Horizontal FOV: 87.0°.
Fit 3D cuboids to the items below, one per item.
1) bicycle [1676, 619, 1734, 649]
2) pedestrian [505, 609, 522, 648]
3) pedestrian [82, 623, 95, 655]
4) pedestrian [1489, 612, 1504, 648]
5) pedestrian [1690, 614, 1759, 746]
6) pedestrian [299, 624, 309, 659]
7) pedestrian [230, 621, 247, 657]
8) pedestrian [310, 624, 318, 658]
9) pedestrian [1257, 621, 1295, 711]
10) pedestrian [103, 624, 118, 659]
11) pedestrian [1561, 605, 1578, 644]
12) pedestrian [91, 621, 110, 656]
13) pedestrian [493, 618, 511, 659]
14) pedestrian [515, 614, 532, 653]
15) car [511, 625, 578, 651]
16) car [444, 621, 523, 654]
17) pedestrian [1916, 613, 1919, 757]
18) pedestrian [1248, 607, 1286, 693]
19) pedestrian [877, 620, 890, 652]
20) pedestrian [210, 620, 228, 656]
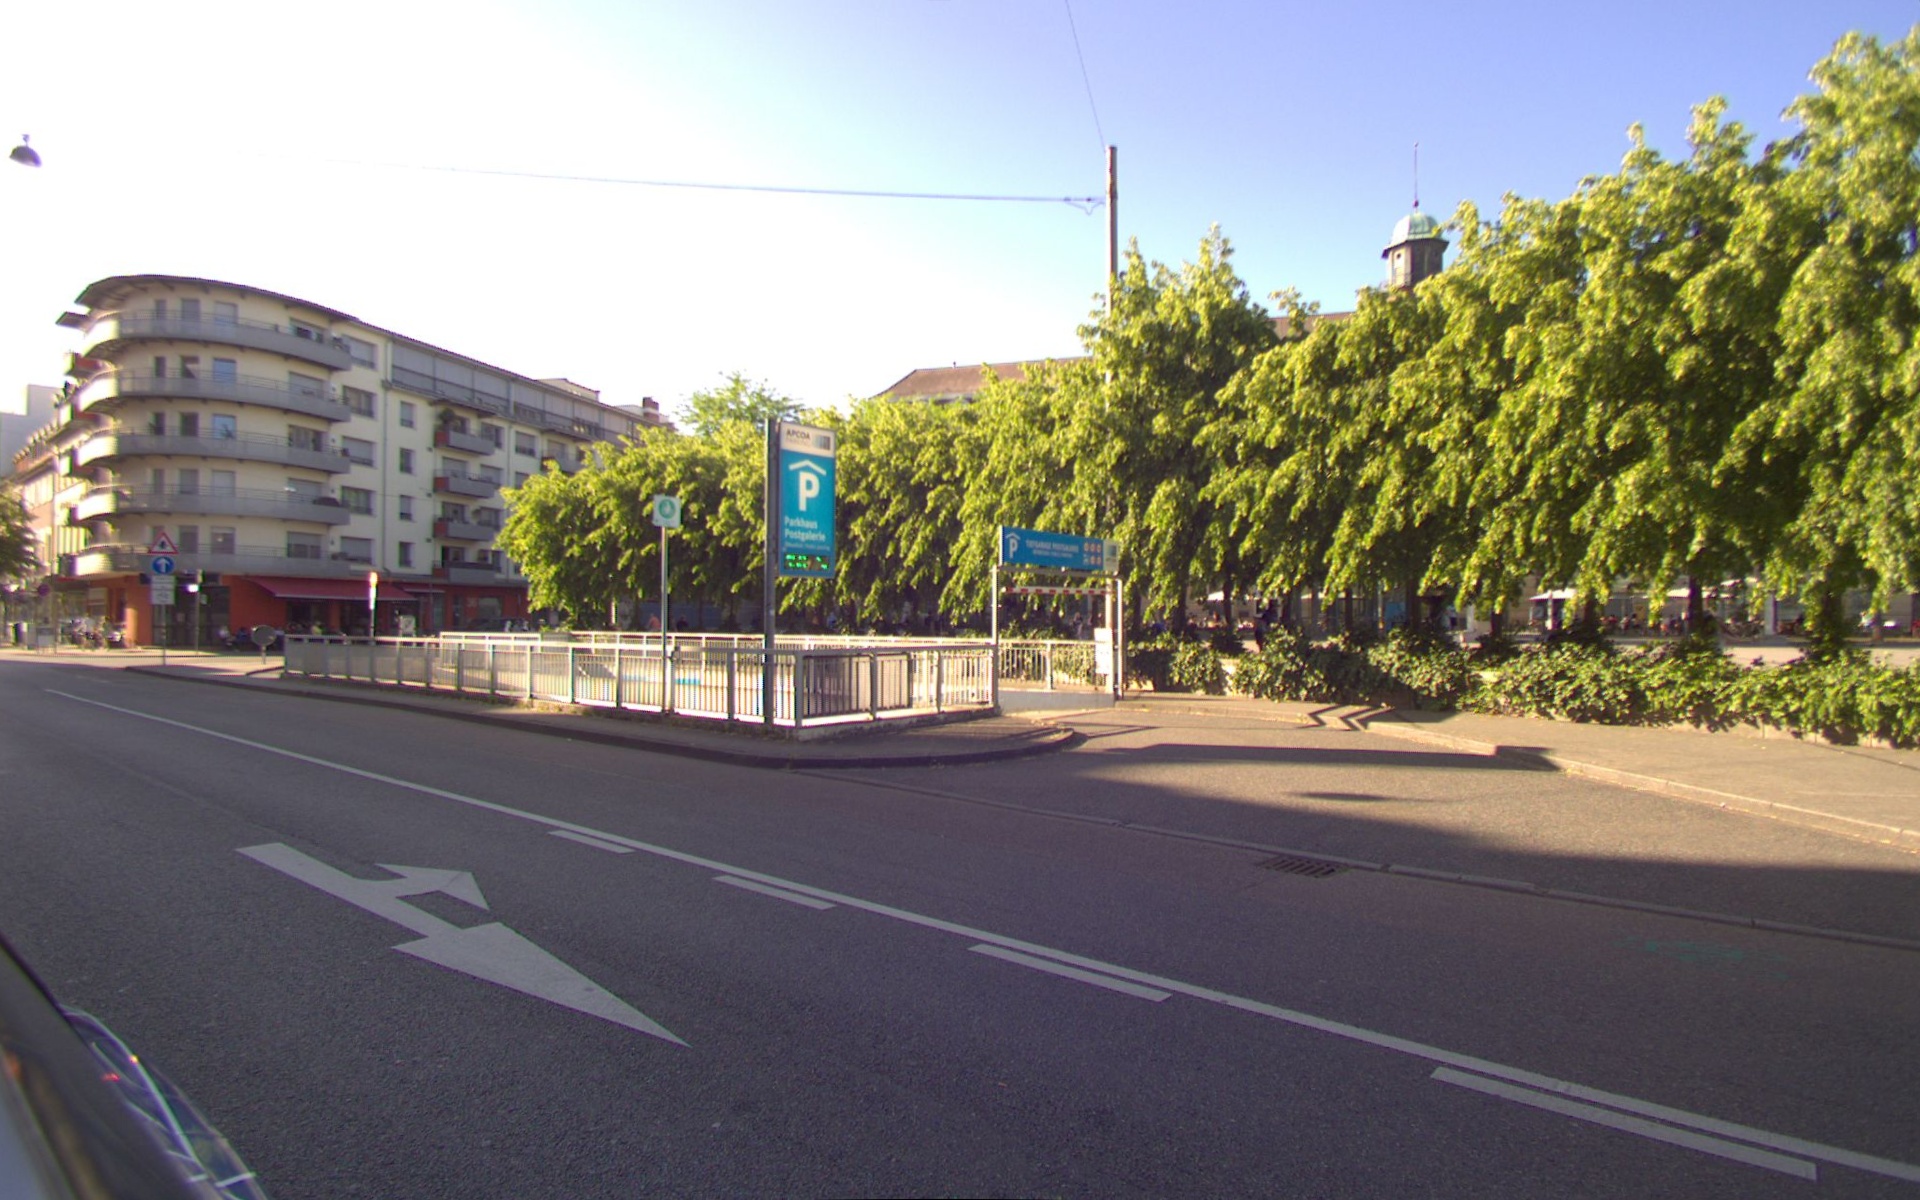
[{"bbox_3d":[27.377,1.237,37.232,0.496,1.024,2.061,-1,0,-3],"label":"bicycle"},{"bbox_3d":[-20.592,1.310,46.678,0.574,1.806,0.602,-1,-1,-5],"label":"pedestrian"},{"bbox_3d":[-41.666,1.864,48.369,0.515,1.541,0.371,-1,-1,37],"label":"pedestrian"},{"bbox_3d":[26.836,1.503,50.592,0.599,1.806,0.576,-1,-1,31],"label":"pedestrian"},{"bbox_3d":[11.254,1.149,14.892,0.732,1.870,0.574,-1,-1,44],"label":"pedestrian"},{"bbox_3d":[-32.347,2.041,49.927,0.318,1.680,0.362,0,-1,-17],"label":"pedestrian"},{"bbox_3d":[-35.533,1.909,49.839,0.642,1.721,0.568,-2,-2,43],"label":"pedestrian"},{"bbox_3d":[-32.017,2.038,50.148,0.266,1.680,0.362,0,-1,-17],"label":"pedestrian"},{"bbox_3d":[6.744,1.387,21.579,0.600,1.870,0.575,-1,-1,38],"label":"pedestrian"},{"bbox_3d":[-41.150,1.986,49.036,0.515,1.685,0.437,-1,-1,37],"label":"pedestrian"},{"bbox_3d":[28.508,1.140,47.353,0.598,1.806,0.577,-1,-1,27],"label":"pedestrian"},{"bbox_3d":[-41.373,1.849,48.706,0.792,1.634,0.563,-1,-1,37],"label":"pedestrian"},{"bbox_3d":[-20.845,1.746,46.110,0.574,1.806,0.602,-1,-1,-5],"label":"pedestrian"},{"bbox_3d":[-20.452,1.555,47.423,0.574,1.806,0.601,-1,-1,0],"label":"pedestrian"},{"bbox_3d":[-27.656,2.534,67.544,1.938,1.633,4.272,-1,-1,16],"label":"car"},{"bbox_3d":[-29.151,2.248,62.065,1.938,1.927,4.403,-1,-1,16],"label":"car"},{"bbox_3d":[12.662,1.106,12.818,0.597,1.870,0.578,-1,-1,22],"label":"pedestrian"},{"bbox_3d":[6.822,1.099,22.508,0.674,1.870,0.577,-1,-1,30],"label":"pedestrian"},{"bbox_3d":[-4.385,2.058,58.017,0.578,1.806,0.597,-1,-1,20],"label":"pedestrian"},{"bbox_3d":[-36.366,1.857,49.665,0.642,1.721,0.568,-2,-2,43],"label":"pedestrian"}]
